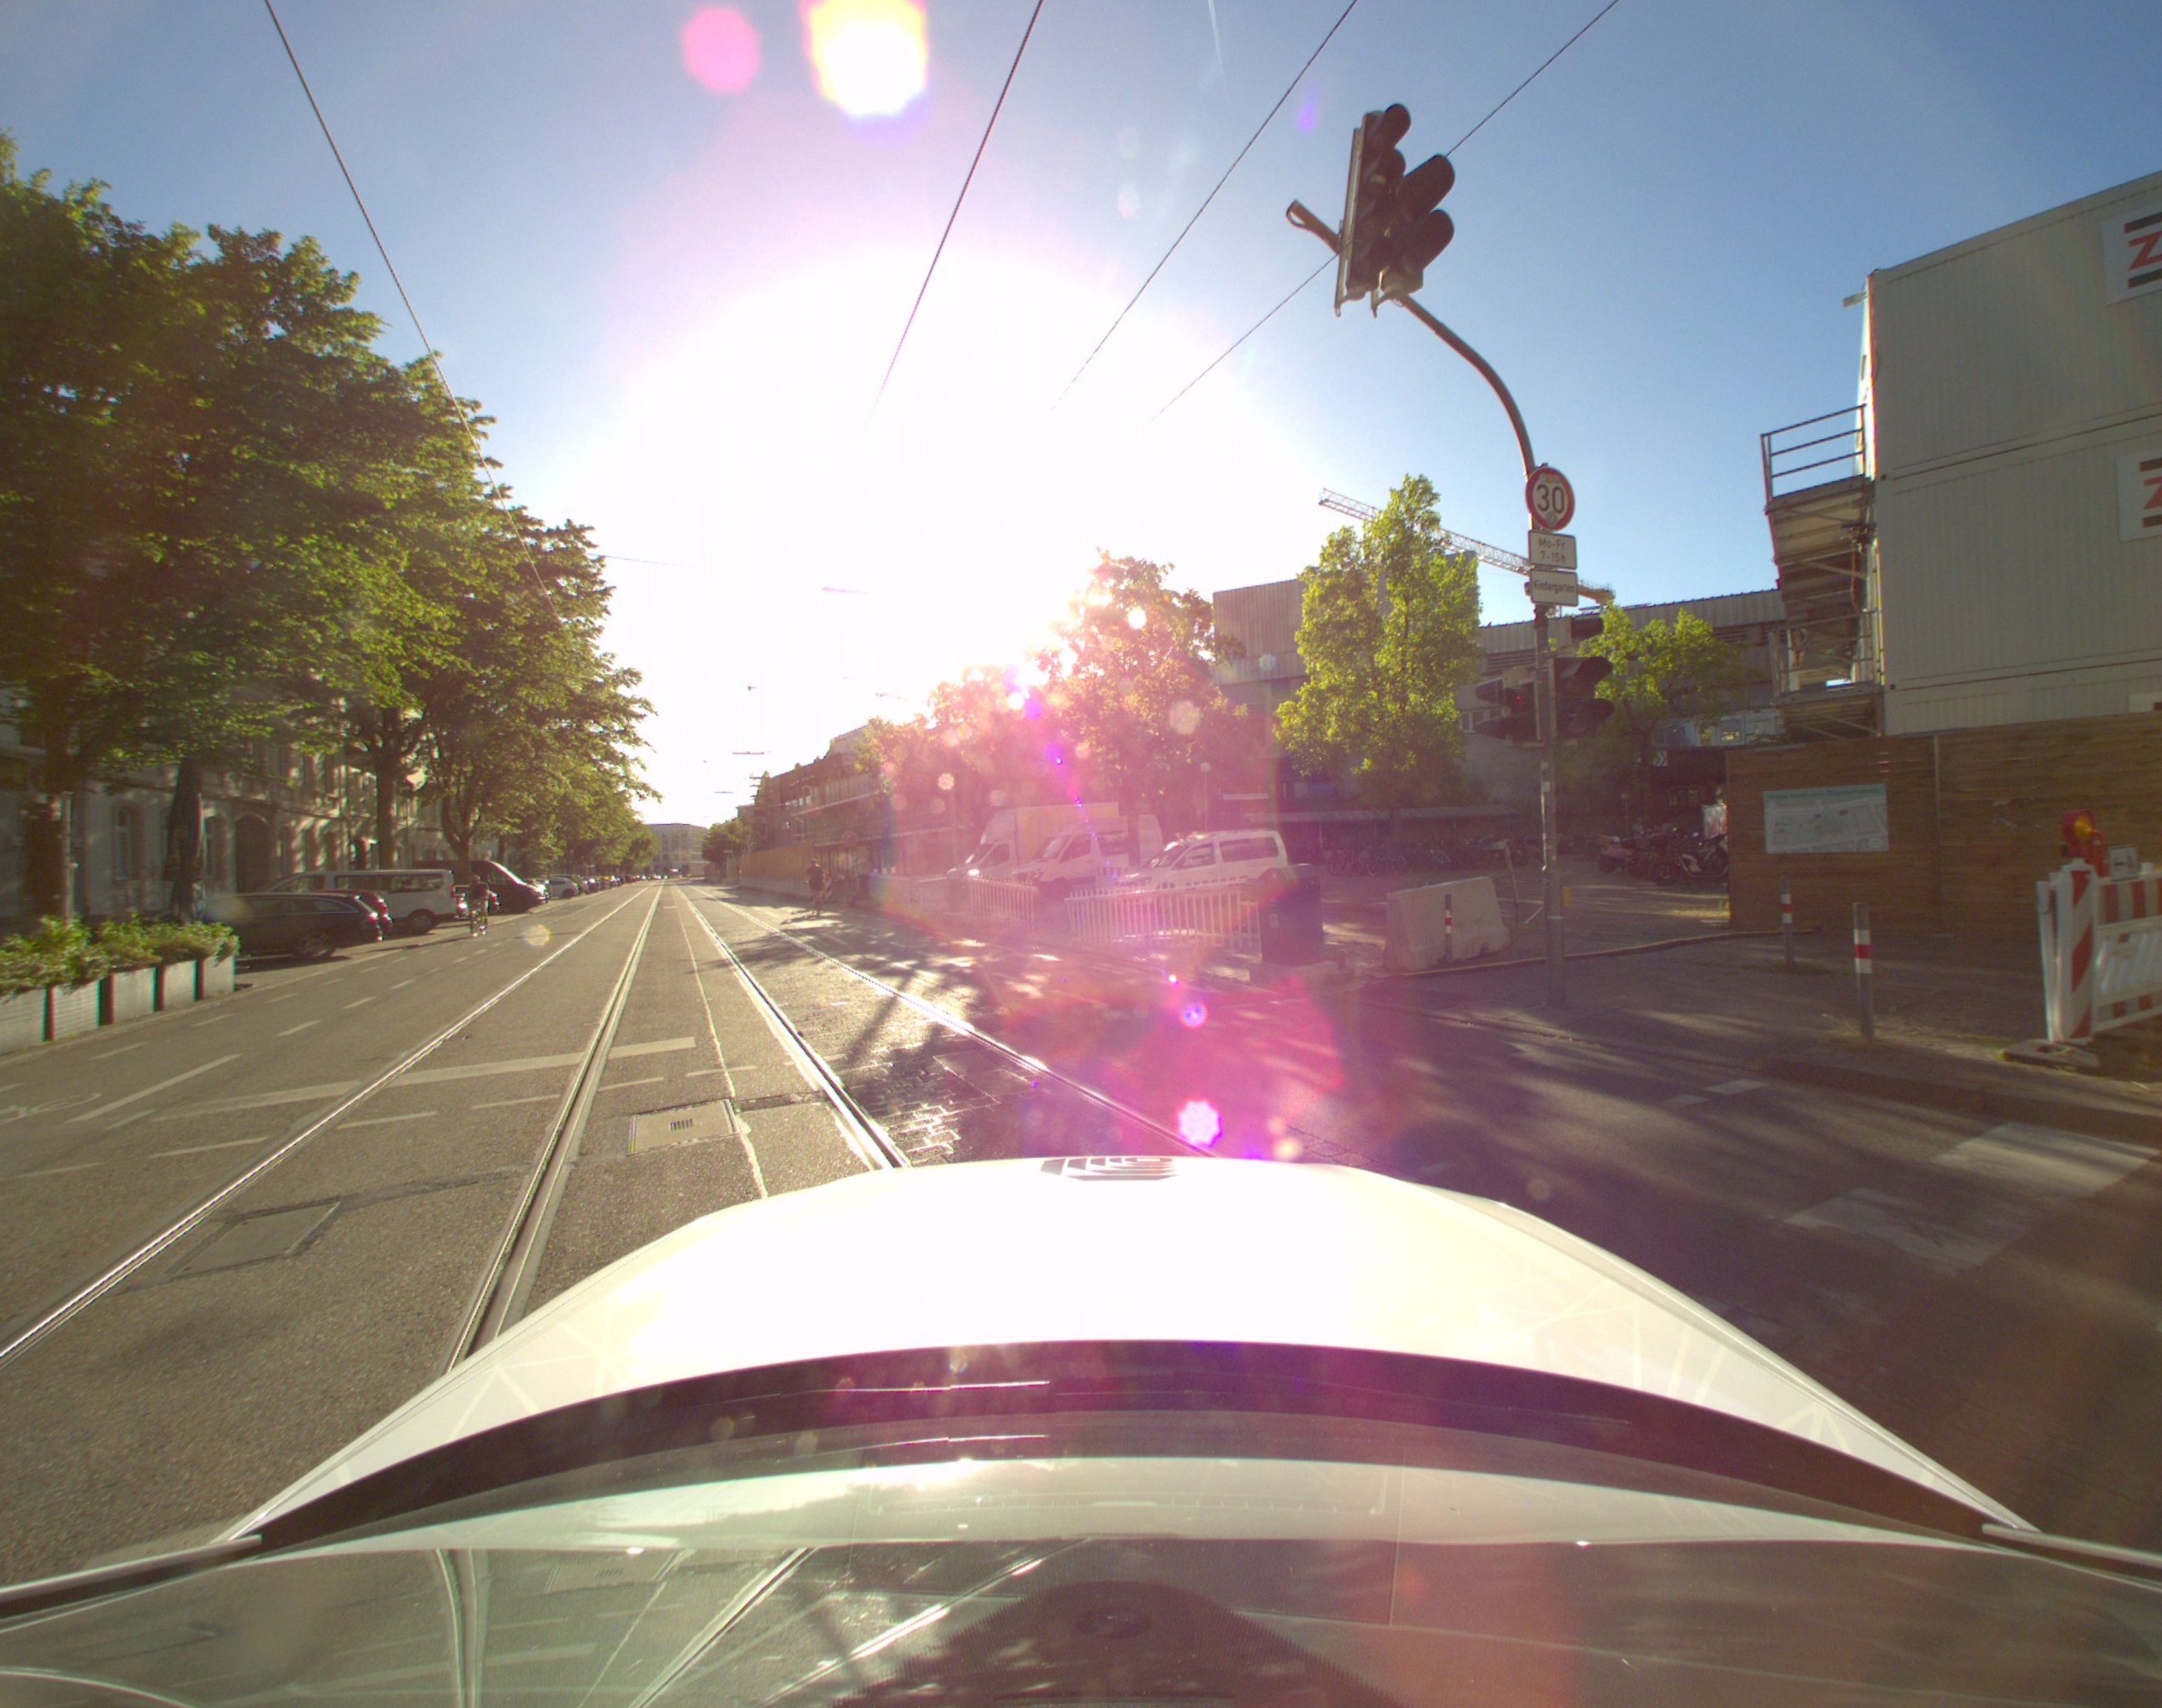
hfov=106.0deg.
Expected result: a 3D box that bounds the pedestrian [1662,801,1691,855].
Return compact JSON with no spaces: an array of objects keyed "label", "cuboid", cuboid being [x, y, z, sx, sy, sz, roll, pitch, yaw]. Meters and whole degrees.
[{"label":"pedestrian","cuboid":[23.273,-1.019,31.827,0.792,2.013,1.037,-3,0,39]}]

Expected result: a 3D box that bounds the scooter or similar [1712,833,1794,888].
[{"label":"scooter or similar","cuboid":[13.785,0.129,16.702,1.482,1.020,0.384,-4,0,-9]}]

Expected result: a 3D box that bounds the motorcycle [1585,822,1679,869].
[{"label":"motorcycle","cuboid":[16.200,-0.244,23.995,2.184,1.257,0.546,-3,0,25]}]

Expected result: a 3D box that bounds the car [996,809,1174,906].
[{"label":"car","cuboid":[0.183,0.050,26.652,5.399,2.530,1.980,-7,2,-30]}]

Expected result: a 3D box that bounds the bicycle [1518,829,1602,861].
[{"label":"bicycle","cuboid":[19.087,-0.345,32.575,0.821,1.147,3.070,-3,0,-18]}]

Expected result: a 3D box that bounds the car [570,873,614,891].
[{"label":"car","cuboid":[-58.846,3.352,98.046,1.805,2.054,4.125,-2,-2,41]}]

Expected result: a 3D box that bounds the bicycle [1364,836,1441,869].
[{"label":"bicycle","cuboid":[11.816,-0.033,30.098,0.821,1.147,3.070,-3,0,-18]}]

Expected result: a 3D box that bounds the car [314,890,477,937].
[{"label":"car","cuboid":[-23.256,1.991,27.865,4.117,1.420,1.808,1,-2,-35]}]

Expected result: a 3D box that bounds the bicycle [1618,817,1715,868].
[{"label":"bicycle","cuboid":[15.872,-0.301,22.126,2.024,1.257,0.546,-3,0,25]}]

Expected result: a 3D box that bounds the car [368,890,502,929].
[{"label":"car","cuboid":[-26.392,2.220,33.364,4.123,1.420,1.806,1,-3,-44]}]

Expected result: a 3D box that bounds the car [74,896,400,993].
[{"label":"car","cuboid":[-17.792,1.803,17.428,1.667,1.491,4.674,-3,-1,40]}]

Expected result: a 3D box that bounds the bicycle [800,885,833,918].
[{"label":"bicycle","cuboid":[-8.975,1.594,27.586,0.684,1.018,1.904,-3,0,-28]}]

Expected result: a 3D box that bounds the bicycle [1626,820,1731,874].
[{"label":"bicycle","cuboid":[15.052,-0.165,20.576,2.024,1.257,0.474,-3,0,25]}]

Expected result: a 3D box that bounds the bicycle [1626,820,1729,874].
[{"label":"bicycle","cuboid":[15.362,-0.173,21.040,2.024,1.257,0.546,-3,0,25]}]

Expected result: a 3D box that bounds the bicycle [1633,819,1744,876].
[{"label":"bicycle","cuboid":[14.621,-0.142,19.655,2.024,1.257,0.474,-3,0,25]}]

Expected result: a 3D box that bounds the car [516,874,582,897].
[{"label":"car","cuboid":[-43.063,2.521,65.928,1.805,1.754,4.125,-2,-2,41]}]

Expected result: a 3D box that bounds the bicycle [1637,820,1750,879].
[{"label":"bicycle","cuboid":[14.404,-0.097,19.219,2.024,1.257,0.474,-3,0,25]}]

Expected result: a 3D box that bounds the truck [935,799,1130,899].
[{"label":"truck","cuboid":[-1.826,-0.270,32.011,7.138,3.347,2.369,-5,1,-27]}]

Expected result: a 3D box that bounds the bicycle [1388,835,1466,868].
[{"label":"bicycle","cuboid":[12.851,-0.067,30.394,0.821,1.147,3.070,-3,0,-18]}]

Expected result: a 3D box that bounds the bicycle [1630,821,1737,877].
[{"label":"bicycle","cuboid":[14.833,-0.116,20.110,2.024,1.257,0.474,-3,0,25]}]

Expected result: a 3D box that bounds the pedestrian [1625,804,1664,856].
[{"label":"pedestrian","cuboid":[22.622,-0.960,32.693,0.938,2.013,0.798,-3,0,-17]}]

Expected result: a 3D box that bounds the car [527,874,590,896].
[{"label":"car","cuboid":[-43.726,2.578,68.207,1.805,1.754,4.125,-2,-2,41]}]

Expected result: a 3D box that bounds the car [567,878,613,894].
[{"label":"car","cuboid":[-55.332,3.576,91.845,1.805,1.754,4.125,-2,-2,41]}]

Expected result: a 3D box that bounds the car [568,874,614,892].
[{"label":"car","cuboid":[-56.756,3.310,94.397,1.805,2.054,4.125,-2,-2,41]}]

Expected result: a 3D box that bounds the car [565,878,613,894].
[{"label":"car","cuboid":[-53.699,3.488,88.959,1.805,1.754,4.125,-2,-2,41]}]

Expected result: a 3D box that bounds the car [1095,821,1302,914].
[{"label":"car","cuboid":[3.090,0.302,21.328,4.952,1.892,1.996,-5,1,-22]}]

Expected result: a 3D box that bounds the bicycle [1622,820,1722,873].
[{"label":"bicycle","cuboid":[15.620,-0.192,21.583,2.024,1.257,0.546,-3,0,25]}]

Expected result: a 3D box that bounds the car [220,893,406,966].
[{"label":"car","cuboid":[-20.612,1.944,21.969,1.667,1.503,3.347,0,2,35]}]

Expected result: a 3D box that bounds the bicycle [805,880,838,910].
[{"label":"bicycle","cuboid":[-10.359,1.610,32.440,0.898,1.093,2.409,-1,-1,-27]}]

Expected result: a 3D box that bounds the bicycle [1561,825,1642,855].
[{"label":"bicycle","cuboid":[22.051,-0.558,34.606,0.821,1.147,3.070,-3,0,-18]}]

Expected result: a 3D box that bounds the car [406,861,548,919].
[{"label":"car","cuboid":[-28.819,1.680,39.120,5.214,2.578,2.223,1,-2,-31]}]

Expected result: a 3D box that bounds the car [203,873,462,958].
[{"label":"car","cuboid":[-22.071,1.708,24.273,2.012,1.991,5.382,-2,0,39]}]

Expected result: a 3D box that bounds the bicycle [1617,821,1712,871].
[{"label":"bicycle","cuboid":[16.190,-0.219,22.639,2.024,1.257,0.546,-3,0,25]}]

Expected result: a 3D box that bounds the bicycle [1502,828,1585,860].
[{"label":"bicycle","cuboid":[18.219,-0.357,32.217,0.821,1.147,3.070,-3,0,-18]}]

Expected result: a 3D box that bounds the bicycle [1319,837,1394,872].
[{"label":"bicycle","cuboid":[9.843,0.036,29.253,0.821,1.147,3.070,-3,0,-18]}]

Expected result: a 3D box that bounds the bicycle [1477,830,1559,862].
[{"label":"bicycle","cuboid":[17.064,-0.276,31.890,0.821,1.147,3.070,-3,0,-18]}]

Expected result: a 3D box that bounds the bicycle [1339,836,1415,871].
[{"label":"bicycle","cuboid":[10.737,0.005,29.698,0.821,1.147,3.070,-3,0,-18]}]

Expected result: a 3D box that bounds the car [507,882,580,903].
[{"label":"car","cuboid":[-39.373,2.815,59.751,1.805,1.453,4.124,-2,-2,43]}]

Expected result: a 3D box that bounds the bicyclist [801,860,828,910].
[{"label":"bicyclist","cuboid":[-9.056,1.046,27.678,0.684,1.658,0.804,-3,0,-28]}]

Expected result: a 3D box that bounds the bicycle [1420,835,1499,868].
[{"label":"bicycle","cuboid":[14.314,-0.085,30.963,0.821,1.147,3.070,-3,0,-18]}]

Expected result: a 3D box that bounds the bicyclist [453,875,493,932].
[{"label":"bicyclist","cuboid":[-17.624,1.420,23.619,0.729,1.572,1.019,-3,0,-28]}]

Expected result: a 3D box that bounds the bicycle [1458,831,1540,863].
[{"label":"bicycle","cuboid":[16.141,-0.245,31.573,0.821,1.147,3.070,-3,0,-18]}]

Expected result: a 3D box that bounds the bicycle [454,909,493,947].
[{"label":"bicycle","cuboid":[-17.559,2.119,23.570,0.614,0.953,1.866,-3,0,-28]}]

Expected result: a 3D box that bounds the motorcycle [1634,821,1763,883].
[{"label":"motorcycle","cuboid":[13.815,-0.028,18.284,2.184,1.257,0.546,-3,0,25]}]
